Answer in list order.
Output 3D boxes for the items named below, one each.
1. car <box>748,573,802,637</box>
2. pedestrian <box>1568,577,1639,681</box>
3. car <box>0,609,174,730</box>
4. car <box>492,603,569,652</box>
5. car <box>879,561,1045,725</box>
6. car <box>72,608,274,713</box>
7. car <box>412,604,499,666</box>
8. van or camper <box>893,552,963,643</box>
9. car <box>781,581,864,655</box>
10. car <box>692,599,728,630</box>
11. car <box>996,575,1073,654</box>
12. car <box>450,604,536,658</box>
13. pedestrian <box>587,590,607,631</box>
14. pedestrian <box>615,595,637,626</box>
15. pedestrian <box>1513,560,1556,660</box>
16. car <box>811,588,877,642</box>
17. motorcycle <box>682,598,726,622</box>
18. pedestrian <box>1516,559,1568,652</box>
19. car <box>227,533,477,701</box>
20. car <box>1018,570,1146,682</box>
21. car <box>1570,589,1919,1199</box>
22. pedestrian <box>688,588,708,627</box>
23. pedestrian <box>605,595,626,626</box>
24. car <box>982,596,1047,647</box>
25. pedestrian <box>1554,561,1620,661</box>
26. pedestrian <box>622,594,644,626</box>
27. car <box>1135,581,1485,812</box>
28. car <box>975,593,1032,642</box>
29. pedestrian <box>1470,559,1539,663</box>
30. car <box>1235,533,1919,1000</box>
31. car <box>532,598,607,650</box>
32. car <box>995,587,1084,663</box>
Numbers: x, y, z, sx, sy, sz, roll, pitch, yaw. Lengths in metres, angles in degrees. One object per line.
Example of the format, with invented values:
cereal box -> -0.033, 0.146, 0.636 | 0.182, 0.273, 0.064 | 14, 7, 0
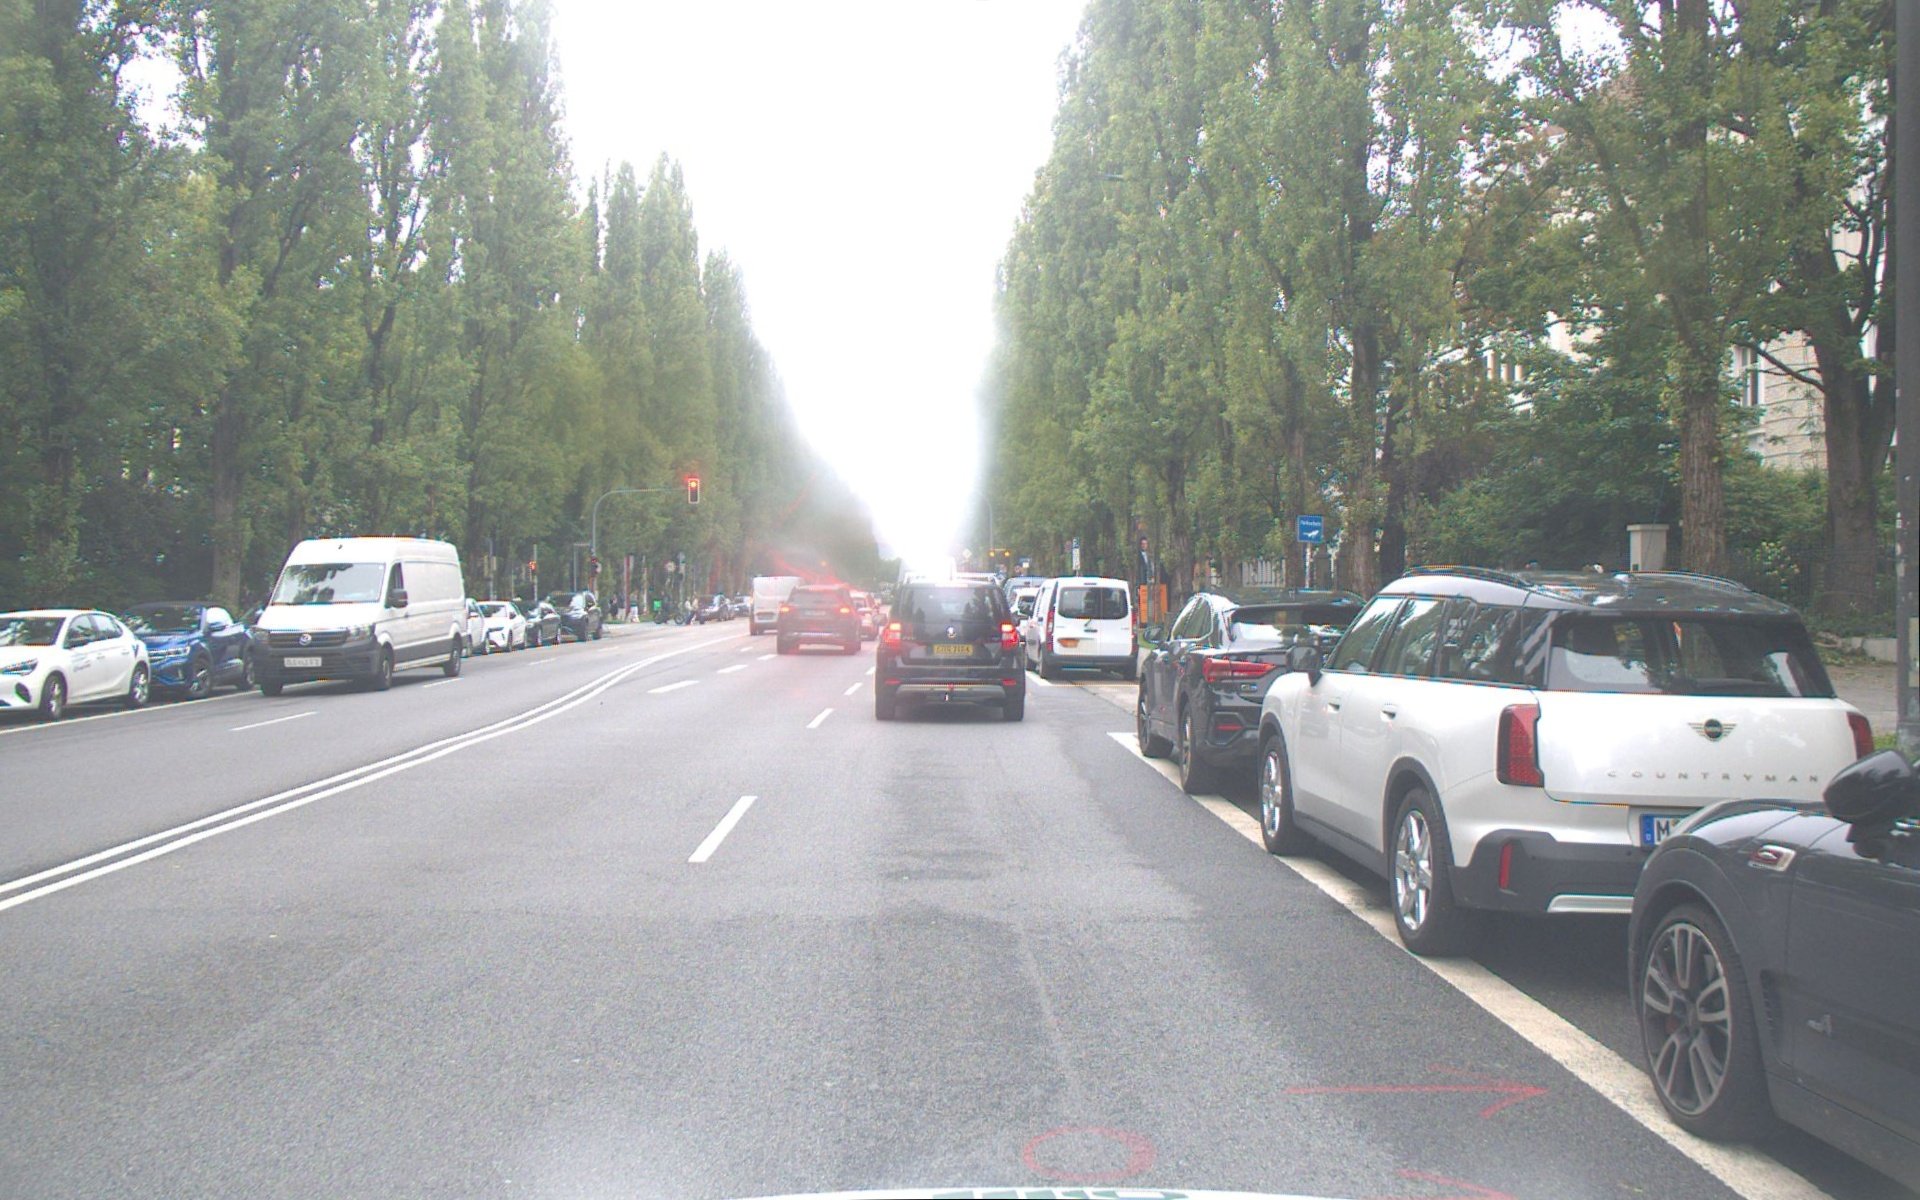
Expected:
car -> -6.424, 0.169, 57.843 | 1.746, 2.148, 4.021 | 0, 0, -5
pedestrian -> 11.796, 0.519, 30.346 | 0.889, 1.831, 0.825 | -1, 3, -23
car -> -12.785, 0.932, 23.071 | 1.735, 1.477, 4.231 | -3, 0, -3
car -> -13.848, 0.865, 53.507 | 1.591, 1.413, 4.163 | -3, 0, -4
car -> -0.023, 0.473, 20.530 | 1.818, 1.801, 3.999 | 1, 0, -1
car -> -12.826, 0.930, 27.176 | 1.675, 1.476, 3.584 | -3, 0, -3
car -> -13.389, 0.905, 44.010 | 1.399, 1.472, 2.965 | -4, 0, -2
van or camper -> -1.006, -0.090, 50.023 | 1.936, 2.593, 4.022 | -1, 0, -3
car -> -3.336, 0.393, 40.651 | 1.745, 1.648, 4.023 | 3, 0, -2
car -> -15.133, 0.852, 100.328 | 1.654, 1.814, 3.774 | -1, 0, -2
car -> 1.893, 0.338, 43.151 | 1.700, 1.928, 4.023 | -1, 0, -2
car -> -13.504, 0.860, 48.030 | 1.592, 1.413, 4.162 | -3, 0, -5
pedestrian -> -14.469, 0.421, 65.870 | 0.647, 1.605, 0.530 | -1, 0, -1
pedestrian -> -18.334, 0.549, 90.752 | 0.874, 1.684, 0.865 | -1, 0, -39
pedestrian -> 11.067, 0.184, 31.857 | 0.479, 1.895, 0.635 | -1, 0, -19
car -> -3.641, 0.445, 52.290 | 1.954, 1.588, 3.998 | -1, 1, -3
motorcycle -> -14.168, 0.545, 91.557 | 2.315, 1.292, 0.930 | 0, 0, -1
pedestrian -> 10.177, 0.091, 28.930 | 0.556, 1.606, 0.867 | -1, 0, -2
car -> -10.472, 0.248, 29.184 | 2.184, 2.526, 6.753 | -2, 0, -3
car -> 2.188, 0.434, 30.675 | 1.814, 1.914, 4.165 | -1, 0, -4
car -> 2.970, 0.758, 3.496 | 1.668, 1.546, 4.293 | -1, 1, -2
pedestrian -> -13.978, 0.397, 88.234 | 0.867, 2.049, 1.013 | -1, 0, 1
pedestrian -> -19.154, 0.580, 91.992 | 0.874, 1.684, 0.865 | -1, 0, -39
car -> 1.575, 0.596, 49.013 | 1.700, 1.411, 3.561 | -1, 0, -2
pedestrian -> 11.641, 0.194, 30.716 | 0.787, 1.813, 0.816 | -1, 0, -19
pedestrian -> -17.792, 0.550, 90.033 | 0.874, 1.684, 0.865 | -1, 0, -39
car -> 2.643, 0.639, 13.577 | 1.842, 1.567, 4.463 | -1, 1, -1
car -> 1.404, 0.549, 54.515 | 1.700, 1.501, 3.561 | -1, 0, -2
pedestrian -> 9.451, 0.191, 28.739 | 0.836, 1.747, 0.867 | -2, 0, -2
car -> 2.703, 0.592, 8.419 | 1.707, 1.705, 4.578 | -1, 1, -2
car -> -13.970, 0.830, 59.454 | 1.813, 1.683, 4.692 | -3, 0, -4
car -> 1.773, 0.515, 37.872 | 1.706, 1.620, 4.210 | -1, 1, -2
